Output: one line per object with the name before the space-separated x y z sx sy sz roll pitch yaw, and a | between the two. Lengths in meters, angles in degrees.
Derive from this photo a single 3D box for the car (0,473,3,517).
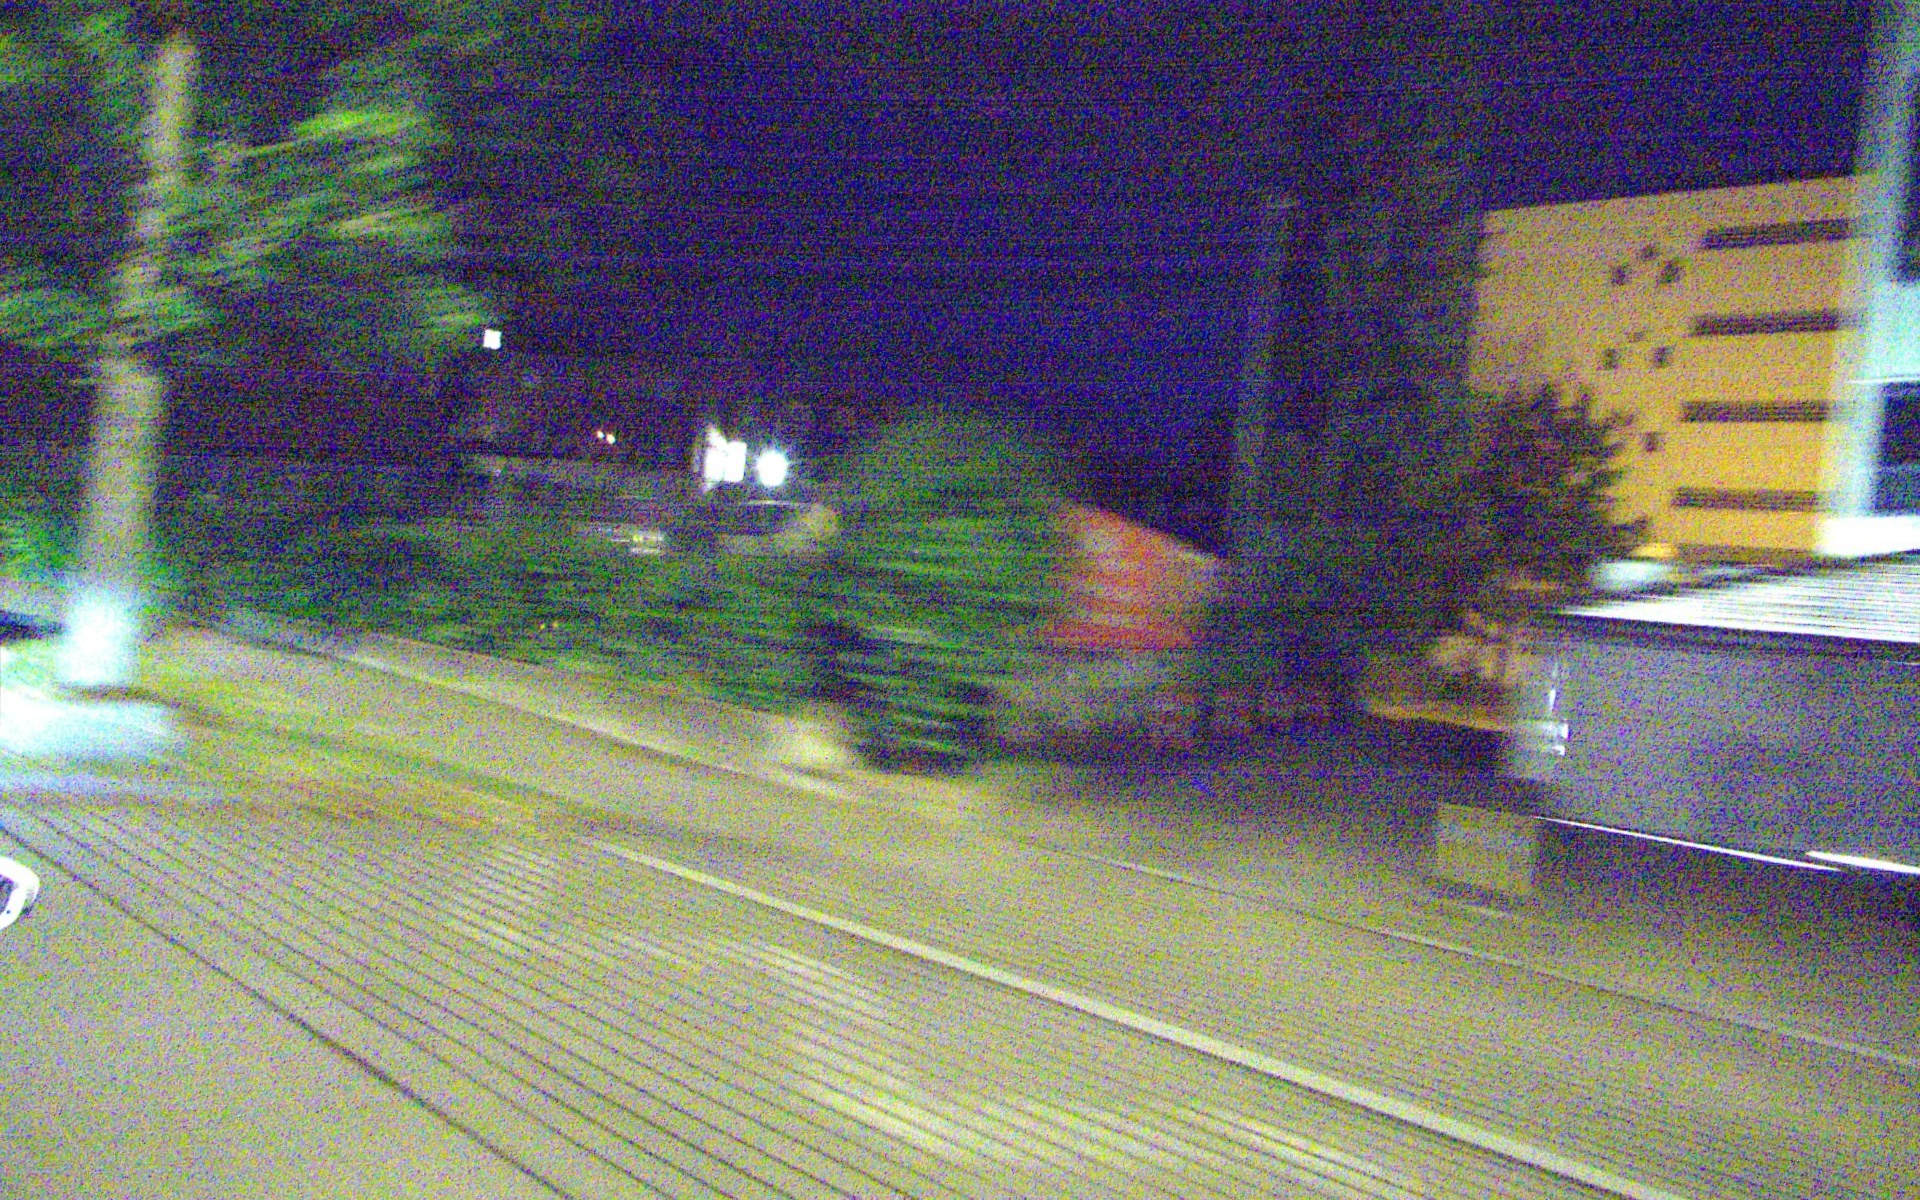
car | -12.226 -0.726 10.743 4.139 1.675 1.854 7 2 31
